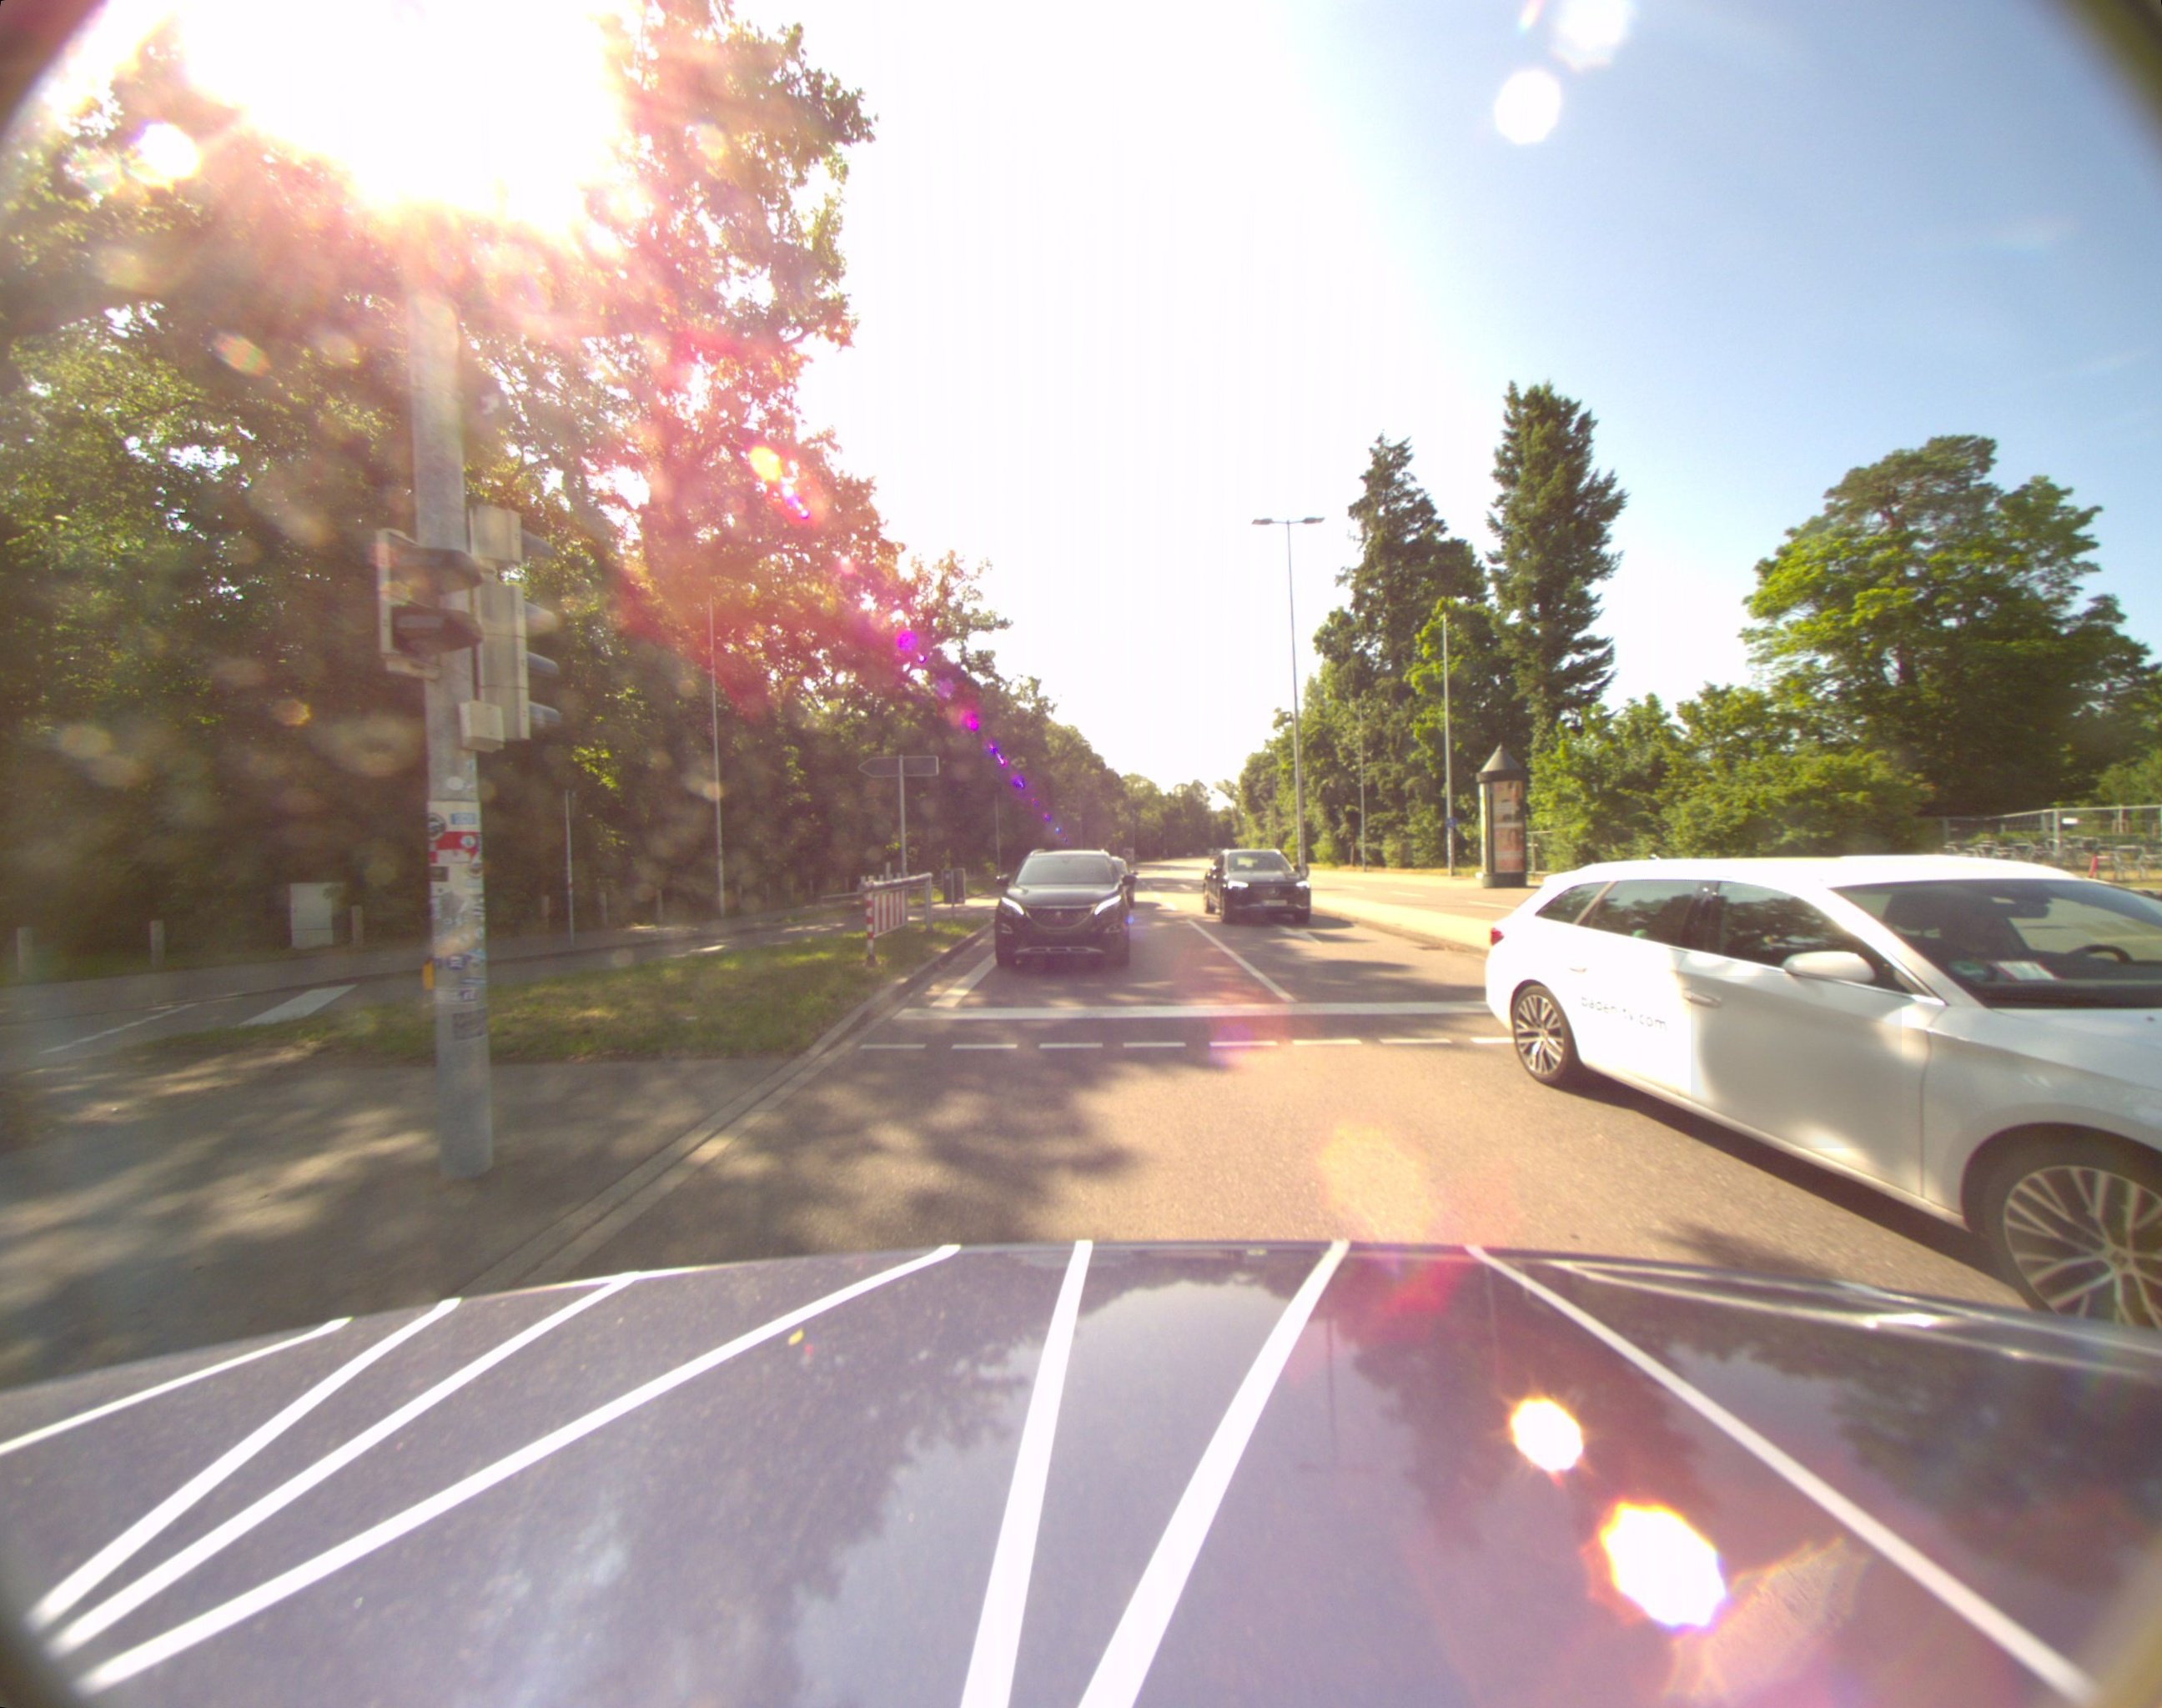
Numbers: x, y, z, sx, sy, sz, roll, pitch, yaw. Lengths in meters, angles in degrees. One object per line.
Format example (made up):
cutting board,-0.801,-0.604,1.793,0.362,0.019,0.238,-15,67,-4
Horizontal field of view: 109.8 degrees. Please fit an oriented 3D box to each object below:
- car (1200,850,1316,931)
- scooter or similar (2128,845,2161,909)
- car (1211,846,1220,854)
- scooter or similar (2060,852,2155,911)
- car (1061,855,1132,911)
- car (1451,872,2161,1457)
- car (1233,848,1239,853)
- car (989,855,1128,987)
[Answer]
car,3.921,0.729,17.512,1.809,1.587,4.273,-1,1,2
scooter or similar,21.553,0.448,15.249,1.083,1.215,0.395,-2,1,-23
car,31.795,-0.916,179.422,1.875,1.849,4.003,-2,0,11
scooter or similar,20.744,0.527,15.382,0.395,1.139,1.197,-2,0,6
car,0.492,0.806,23.133,1.933,1.499,4.000,-2,0,1
car,3.686,0.862,3.411,1.729,1.418,4.719,-1,0,0
car,52.723,-1.319,257.744,1.855,1.608,4.004,-2,0,13
car,-0.227,0.849,11.698,1.702,1.581,4.319,-2,0,2
